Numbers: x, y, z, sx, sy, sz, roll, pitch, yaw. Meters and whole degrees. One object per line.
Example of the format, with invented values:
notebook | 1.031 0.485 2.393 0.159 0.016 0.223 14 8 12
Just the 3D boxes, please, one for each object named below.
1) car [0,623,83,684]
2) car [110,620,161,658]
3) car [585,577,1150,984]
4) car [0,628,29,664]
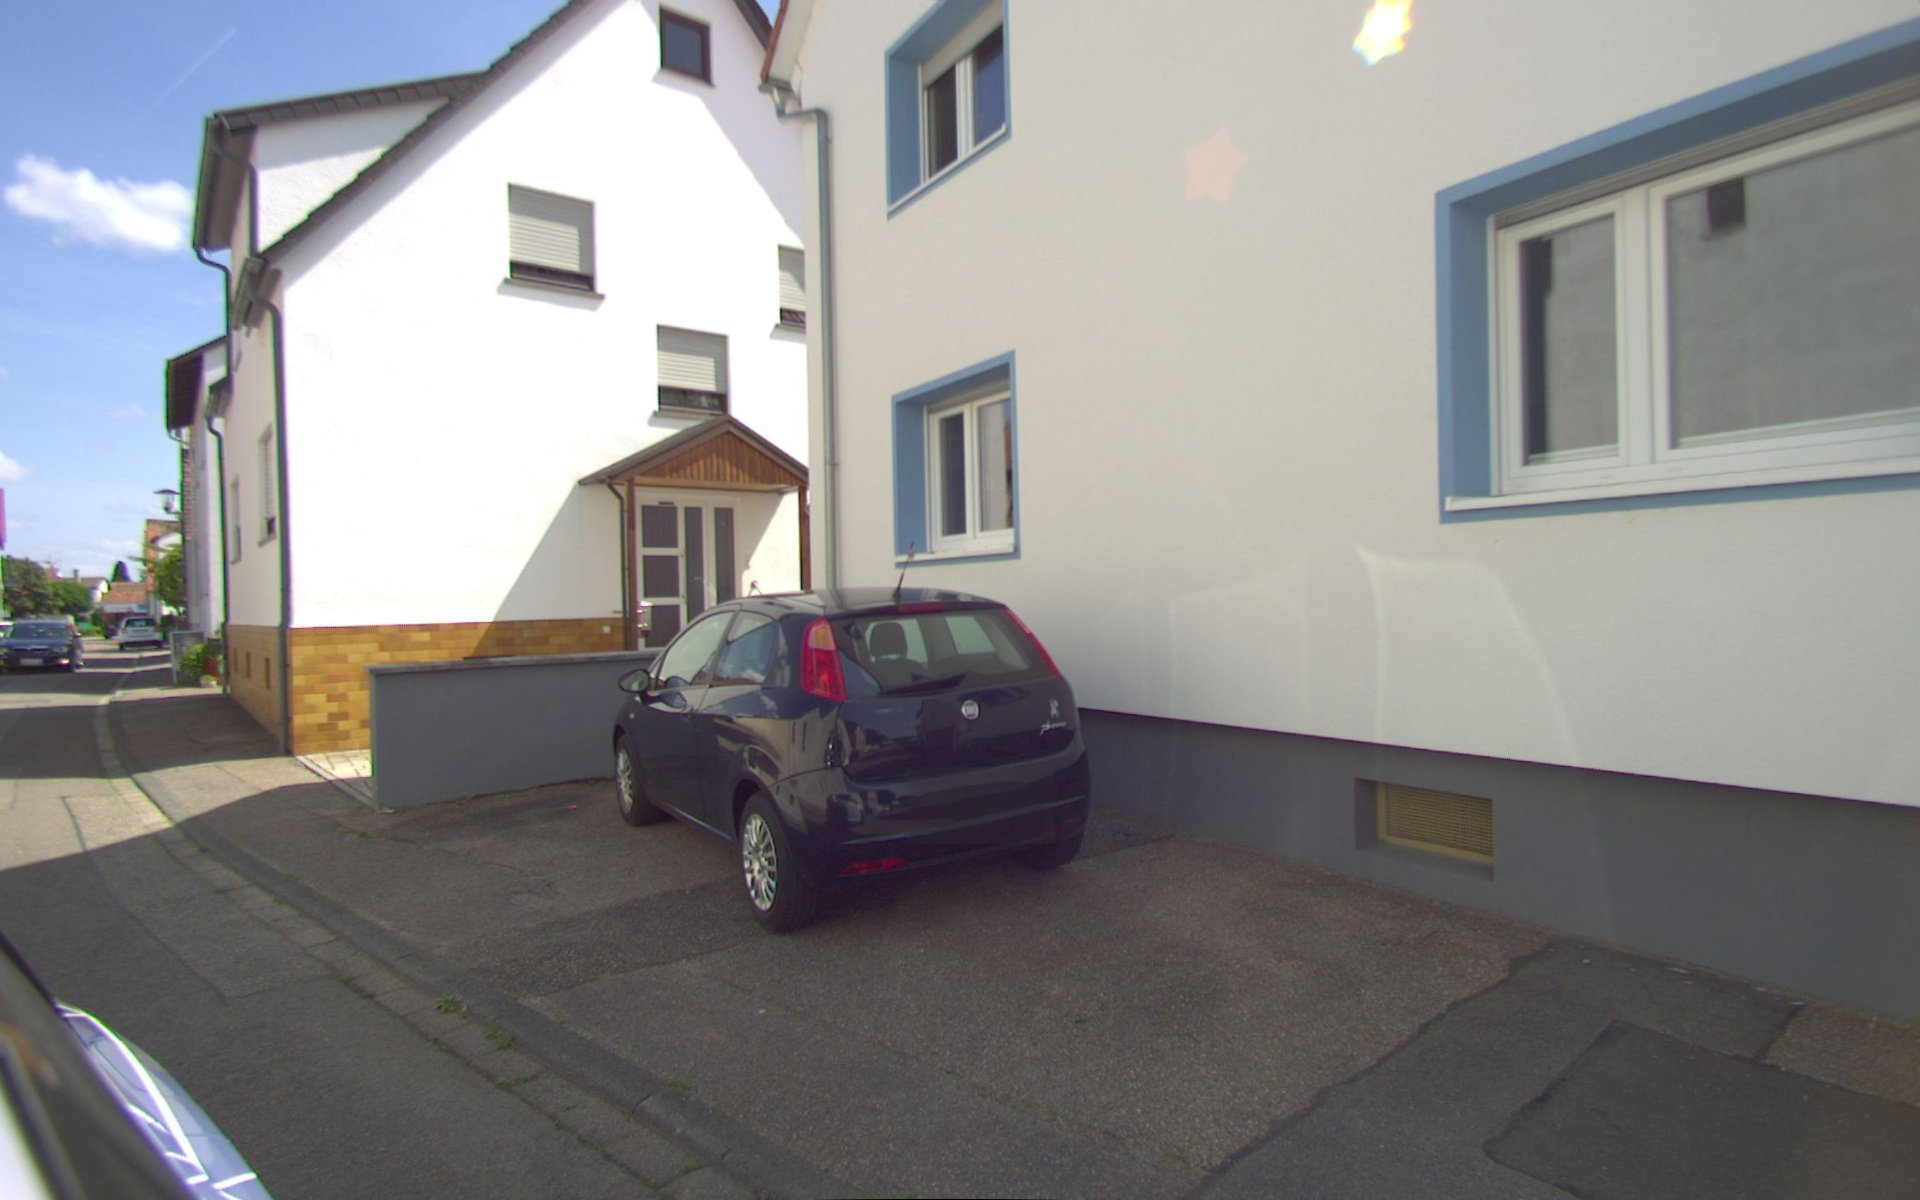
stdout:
car | -26.384 1.463 28.955 1.758 1.547 4.719 -1 0 -39
car | -40.053 1.875 49.212 1.758 1.621 4.007 -5 2 -39
car | -0.854 0.690 5.768 1.615 1.466 3.797 -2 0 -32
car | -44.309 2.133 46.620 1.758 1.511 4.047 -5 2 -39
